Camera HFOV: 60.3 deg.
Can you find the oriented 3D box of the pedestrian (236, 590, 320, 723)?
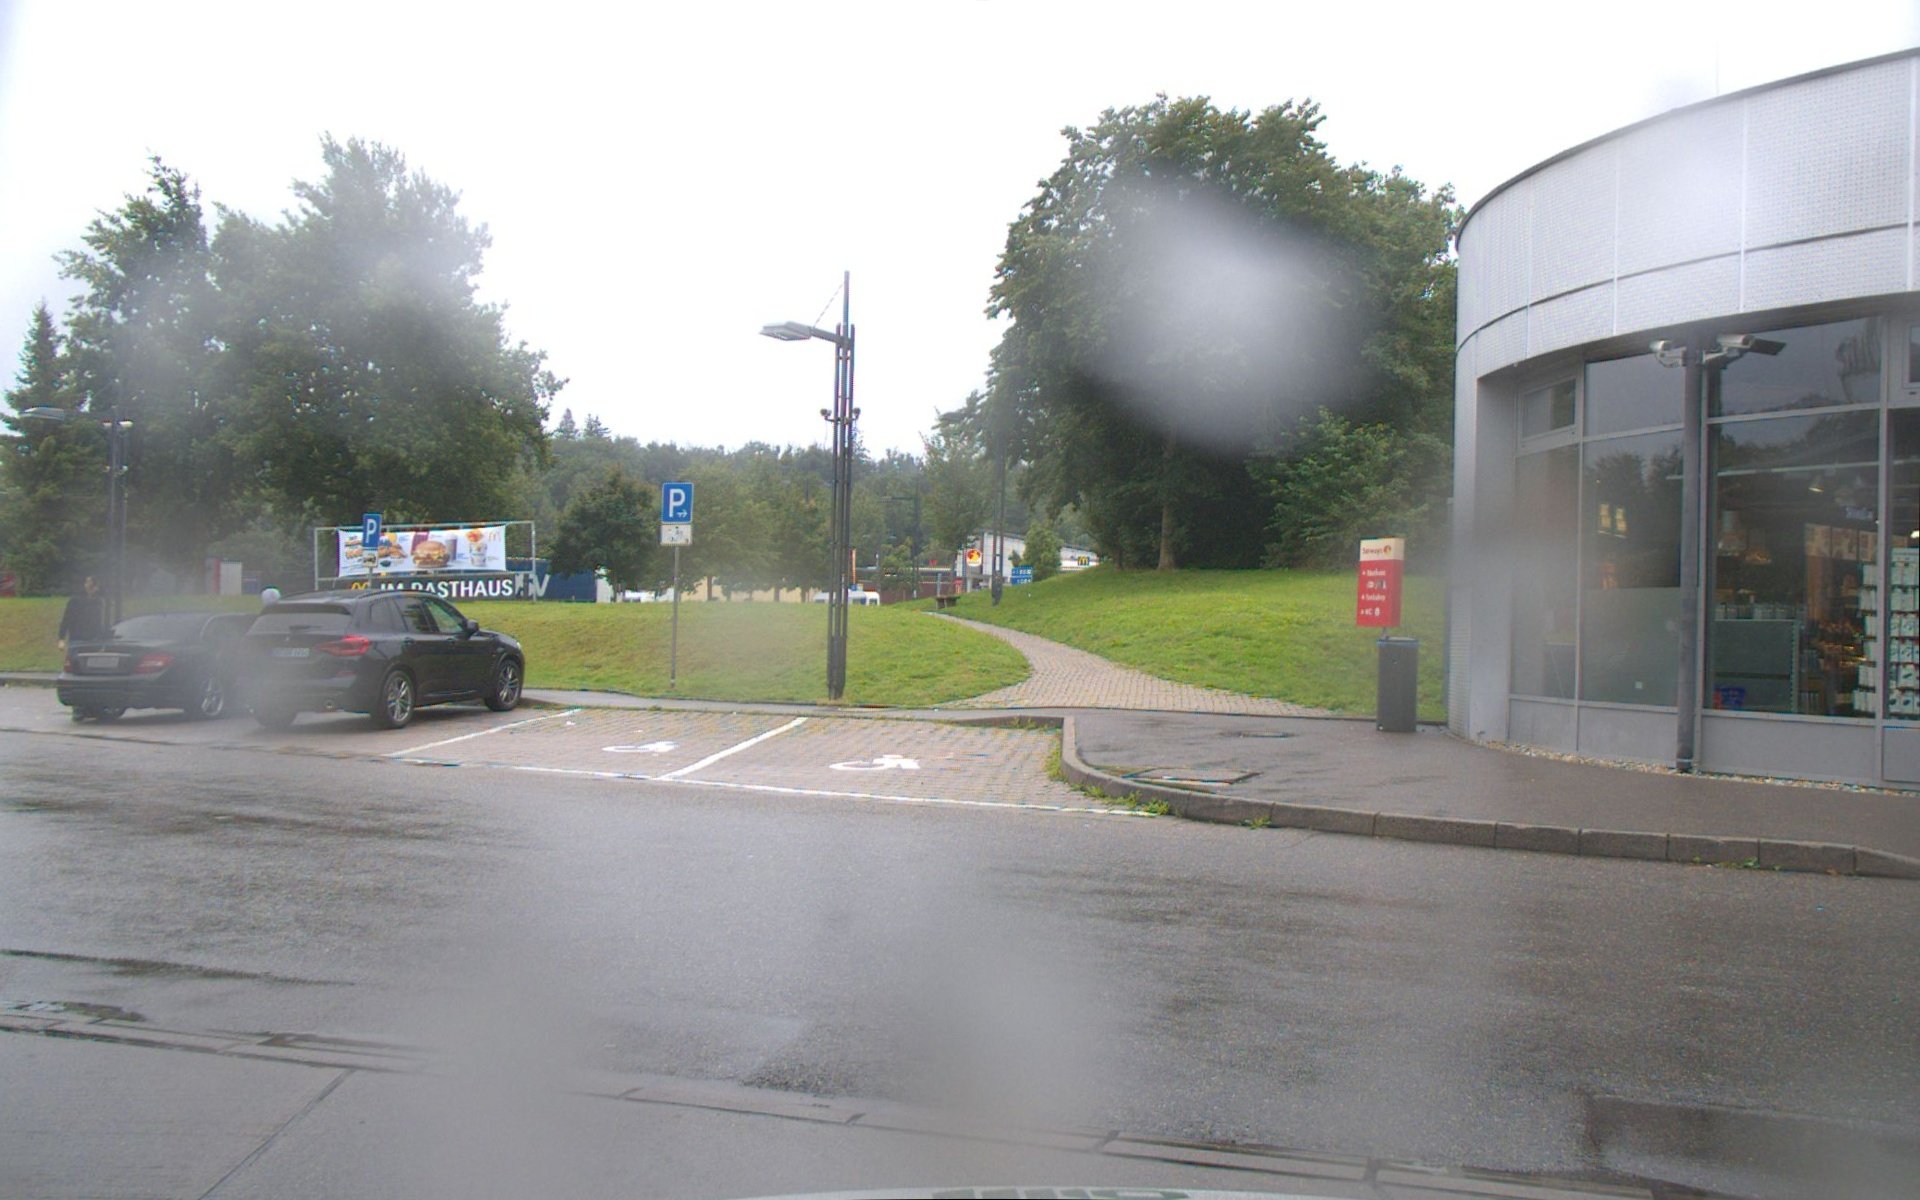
[{"bbox_3d":[-8.718,0.711,21.146,0.939,1.660,0.698,1,-1,-25],"label":"pedestrian"}]

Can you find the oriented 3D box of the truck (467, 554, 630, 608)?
[{"bbox_3d":[-24.923,-1.086,101.261,2.142,2.971,13.092,1,0,23],"label":"truck"}]

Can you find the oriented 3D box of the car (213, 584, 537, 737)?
[{"bbox_3d":[-7.365,0.694,21.362,1.973,1.741,4.347,-1,1,11],"label":"car"}]

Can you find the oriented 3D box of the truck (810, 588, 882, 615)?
[{"bbox_3d":[-9.224,0.137,133.658,5.298,2.049,2.366,1,0,24],"label":"truck"}]

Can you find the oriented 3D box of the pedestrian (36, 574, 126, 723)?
[{"bbox_3d":[-11.626,0.624,21.874,0.875,1.920,0.701,1,-1,34],"label":"pedestrian"}]

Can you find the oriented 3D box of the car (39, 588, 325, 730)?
[{"bbox_3d":[-10.573,0.721,22.880,1.976,1.741,4.342,-1,1,-2],"label":"car"}]

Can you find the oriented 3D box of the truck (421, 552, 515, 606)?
[{"bbox_3d":[-27.975,-1.168,94.247,2.142,2.971,5.384,1,0,24],"label":"truck"}]
